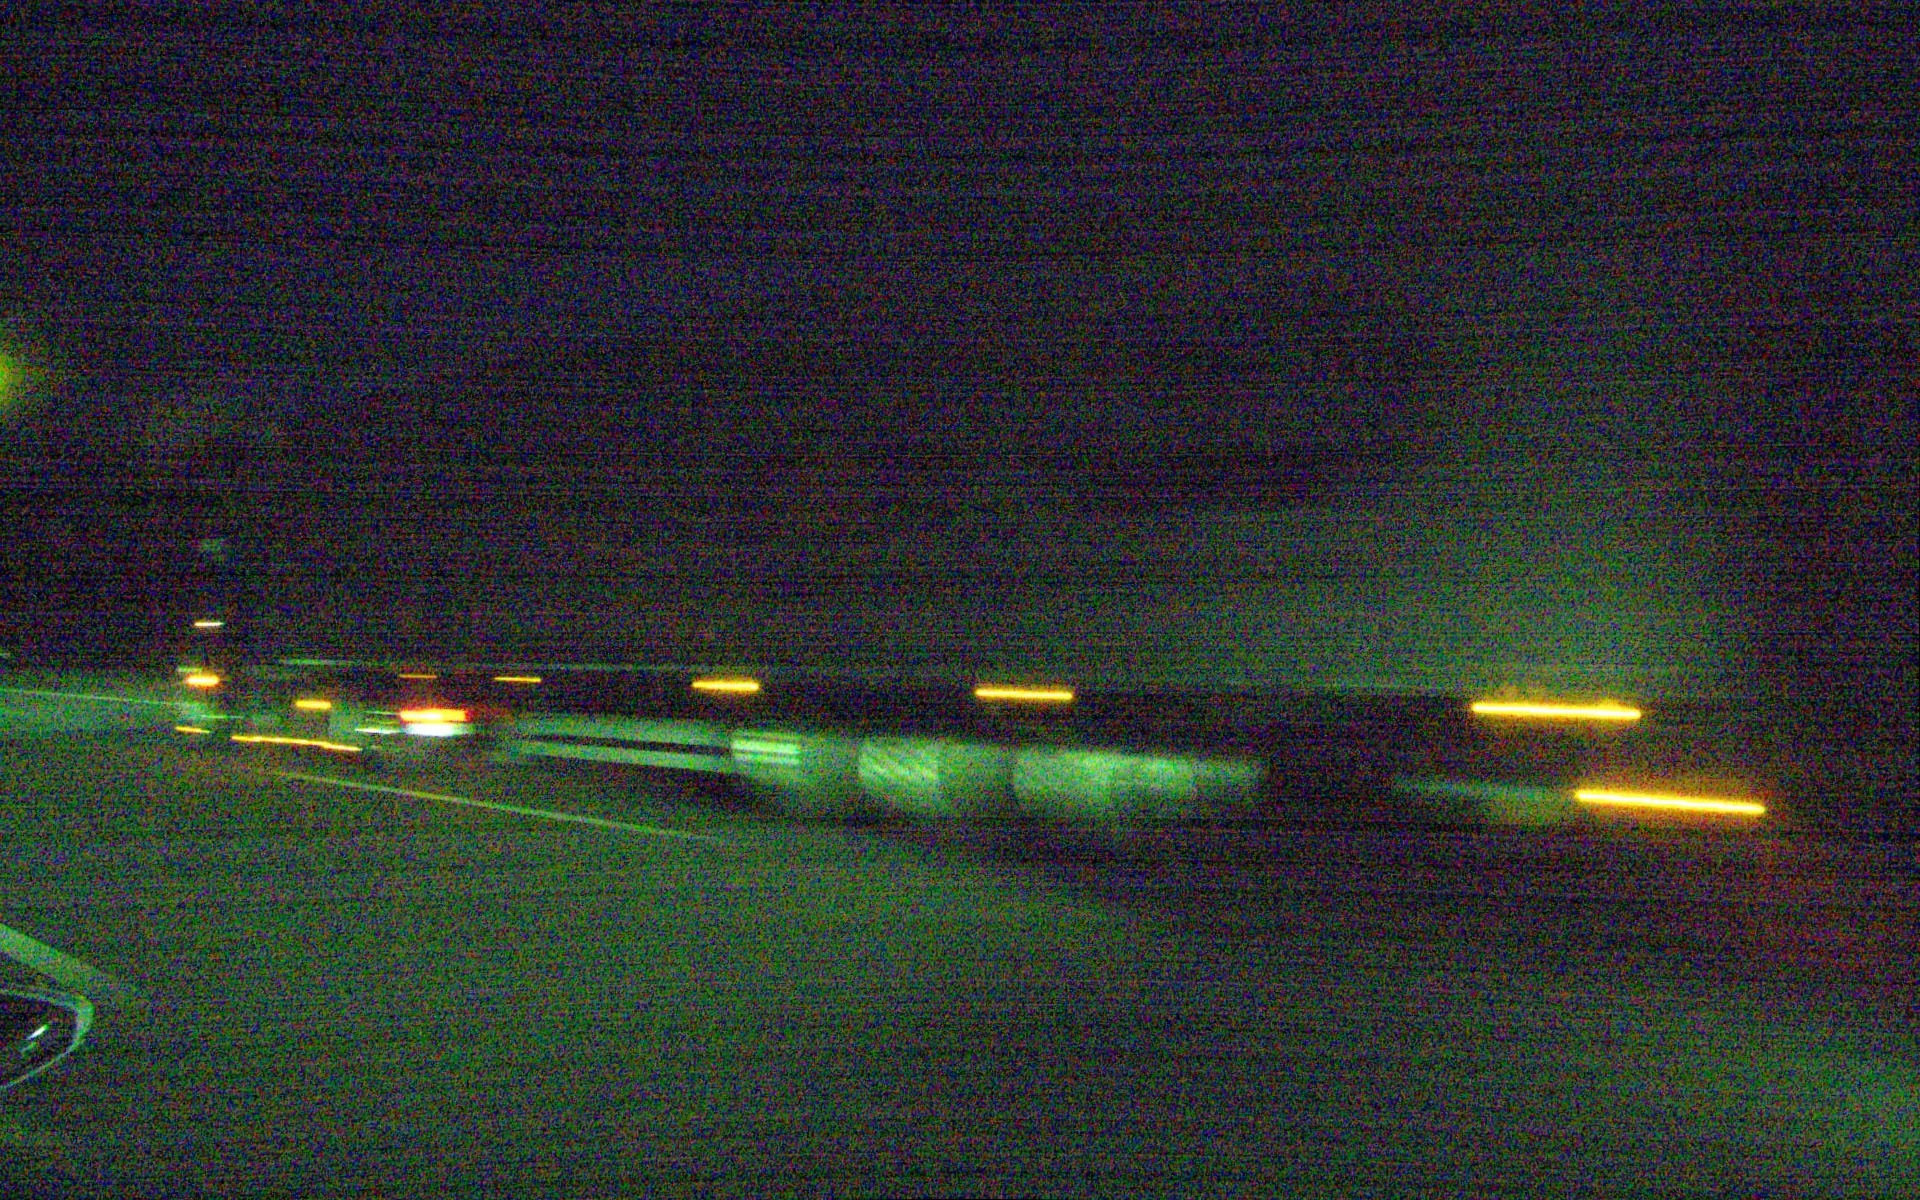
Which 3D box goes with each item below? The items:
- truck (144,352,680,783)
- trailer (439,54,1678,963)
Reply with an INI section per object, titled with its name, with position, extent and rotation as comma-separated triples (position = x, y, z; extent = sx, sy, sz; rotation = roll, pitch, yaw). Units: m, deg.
[truck]
position = -7.191, -0.218, 12.708
extent = 7.564, 4.124, 2.587
rotation = -1, -2, 32
[trailer]
position = -0.241, -0.321, 8.288
extent = 9.865, 4.124, 2.587
rotation = -1, -2, 32
